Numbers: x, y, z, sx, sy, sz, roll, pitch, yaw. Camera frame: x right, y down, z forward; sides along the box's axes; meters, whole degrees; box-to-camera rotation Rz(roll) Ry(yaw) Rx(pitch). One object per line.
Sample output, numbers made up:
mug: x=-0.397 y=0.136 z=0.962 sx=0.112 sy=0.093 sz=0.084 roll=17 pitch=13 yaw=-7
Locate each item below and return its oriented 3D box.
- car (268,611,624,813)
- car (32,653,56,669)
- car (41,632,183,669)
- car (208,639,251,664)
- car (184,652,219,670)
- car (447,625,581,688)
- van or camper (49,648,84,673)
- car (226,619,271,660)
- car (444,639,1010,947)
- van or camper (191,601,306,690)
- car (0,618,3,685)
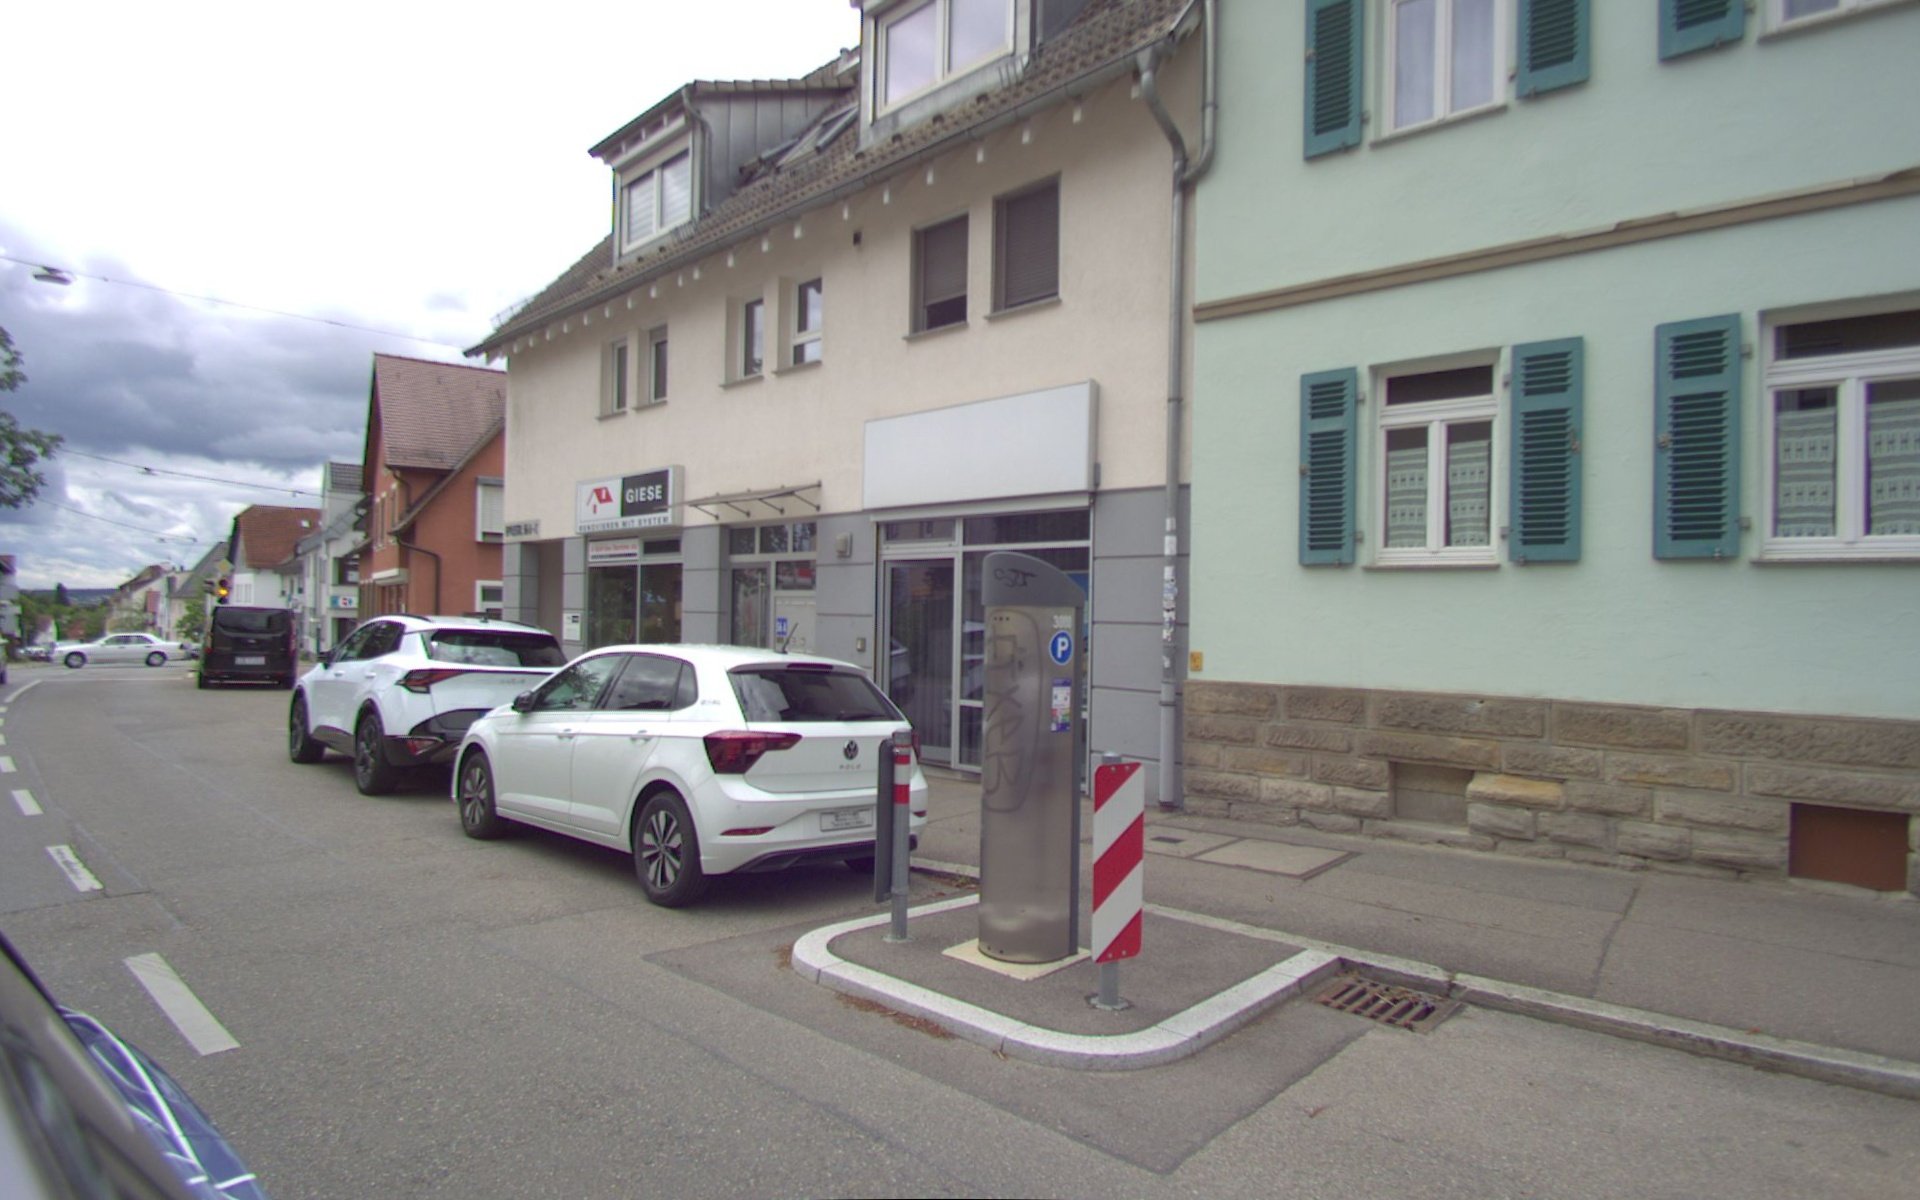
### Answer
car: x=-5.619 y=0.982 z=10.716 sx=1.975 sy=1.645 sz=4.860 roll=1 pitch=-2 yaw=-45
car: x=-90.147 y=5.982 z=99.610 sx=1.590 sy=1.466 sz=3.862 roll=0 pitch=-2 yaw=-45
car: x=-36.100 y=2.202 z=43.164 sx=4.499 sy=1.456 sz=2.002 roll=4 pitch=-5 yaw=-43
car: x=-51.593 y=3.654 z=71.423 sx=1.815 sy=1.645 sz=4.412 roll=4 pitch=-5 yaw=-43
car: x=-64.895 y=5.222 z=86.597 sx=1.816 sy=1.456 sz=4.471 roll=5 pitch=-6 yaw=-44
car: x=-11.225 y=1.392 z=25.490 sx=2.791 sy=1.486 sz=1.747 roll=2 pitch=-2 yaw=-35
van or camper: x=-78.684 y=5.320 z=89.068 sx=1.971 sy=2.029 sz=5.066 roll=-1 pitch=-2 yaw=-45
car: x=-37.834 y=2.162 z=53.801 sx=1.788 sy=2.021 sz=4.774 roll=4 pitch=-5 yaw=-35
car: x=-1.784 y=1.013 z=6.992 sx=3.918 sy=1.447 sz=1.976 roll=-2 pitch=-2 yaw=43
van or camper: x=-17.946 y=1.208 z=25.428 sx=2.047 sy=2.021 sz=4.867 roll=4 pitch=-6 yaw=-37
car: x=-23.357 y=1.218 z=23.333 sx=1.696 sy=1.608 sz=4.005 roll=-1 pitch=-2 yaw=-41
